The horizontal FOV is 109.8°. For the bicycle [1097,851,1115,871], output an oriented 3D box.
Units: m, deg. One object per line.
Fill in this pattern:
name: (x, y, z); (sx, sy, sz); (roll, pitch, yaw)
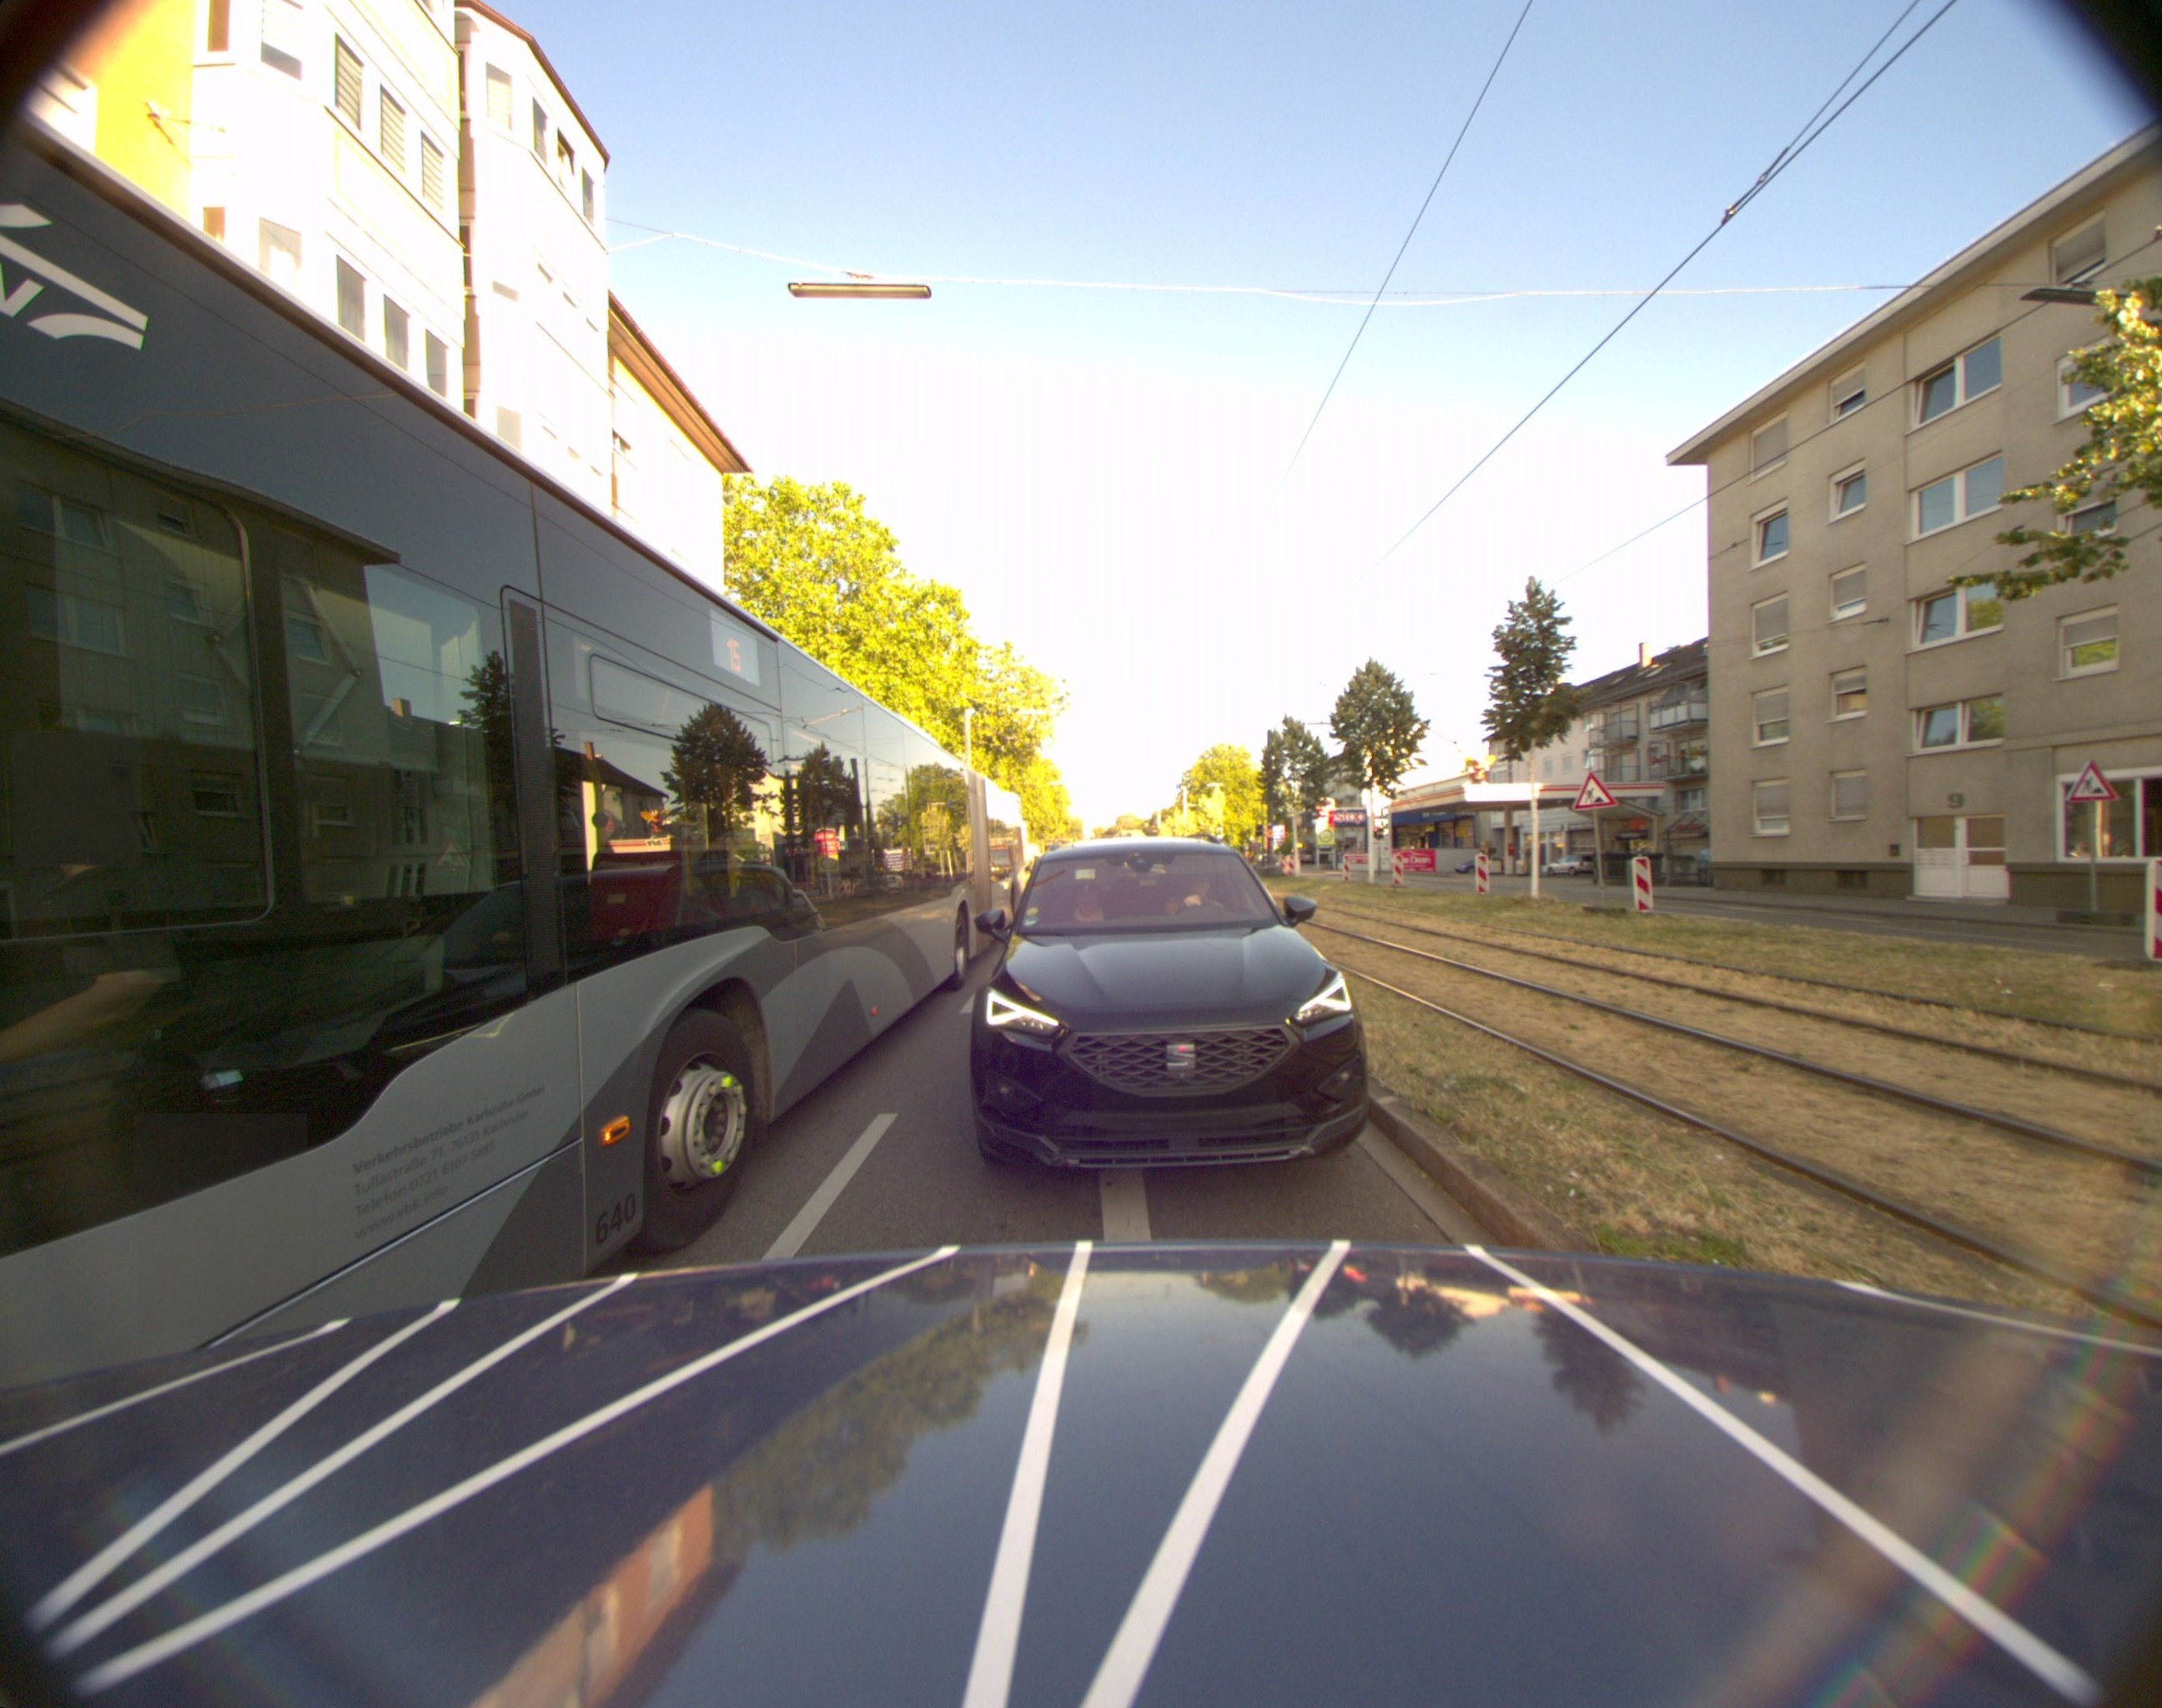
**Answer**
bicycle: (1.576, 0.423, 47.736); (0.524, 1.213, 1.476); (-2, 1, 26)

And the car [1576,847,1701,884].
car: (22.772, 0.491, 31.141); (3.727, 1.460, 1.908); (0, -1, 0)

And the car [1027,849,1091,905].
car: (-0.714, 0.765, 27.010); (1.998, 1.739, 4.000); (-3, 0, 0)

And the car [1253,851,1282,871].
car: (16.467, 0.575, 67.123); (1.723, 1.601, 3.828); (-2, 1, 3)

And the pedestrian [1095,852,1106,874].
pedestrian: (1.362, 0.628, 53.763); (0.510, 1.552, 0.697); (-3, 1, -24)

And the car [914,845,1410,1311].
car: (0.332, 0.843, 4.862); (1.774, 1.667, 4.000); (-3, 0, 1)

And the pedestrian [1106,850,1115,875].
pedestrian: (2.394, 0.704, 61.739); (0.625, 2.002, 0.695); (-2, 0, 0)

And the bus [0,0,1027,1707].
bus: (-2.800, 0.156, 9.079); (2.773, 3.131, 17.740); (-2, 0, 1)

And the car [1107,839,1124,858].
car: (3.984, -0.631, 87.875); (1.767, 2.002, 3.791); (-2, 1, 1)

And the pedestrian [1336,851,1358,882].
pedestrian: (10.921, 0.518, 31.260); (0.664, 1.263, 0.581); (-2, 0, 1)

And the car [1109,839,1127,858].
car: (4.095, -0.587, 83.553); (1.767, 2.002, 3.791); (-2, 1, 1)

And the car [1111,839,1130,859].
car: (4.057, -0.529, 78.520); (1.767, 2.002, 3.791); (-2, 1, 1)

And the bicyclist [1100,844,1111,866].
bicyclist: (1.535, 0.063, 47.720); (0.499, 1.303, 0.501); (-2, 1, 26)

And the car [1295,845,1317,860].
car: (25.081, -0.224, 84.816); (1.781, 1.547, 4.002); (-2, 1, 9)

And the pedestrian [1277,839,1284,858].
pedestrian: (20.929, -0.586, 79.780); (0.632, 2.002, 0.583); (0, 1, 2)

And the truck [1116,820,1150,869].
truck: (4.303, -0.819, 64.389); (2.306, 3.798, 7.723); (-2, 1, 1)

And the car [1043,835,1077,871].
car: (-1.714, -0.087, 65.661); (2.681, 2.875, 5.452); (-2, 1, 0)
